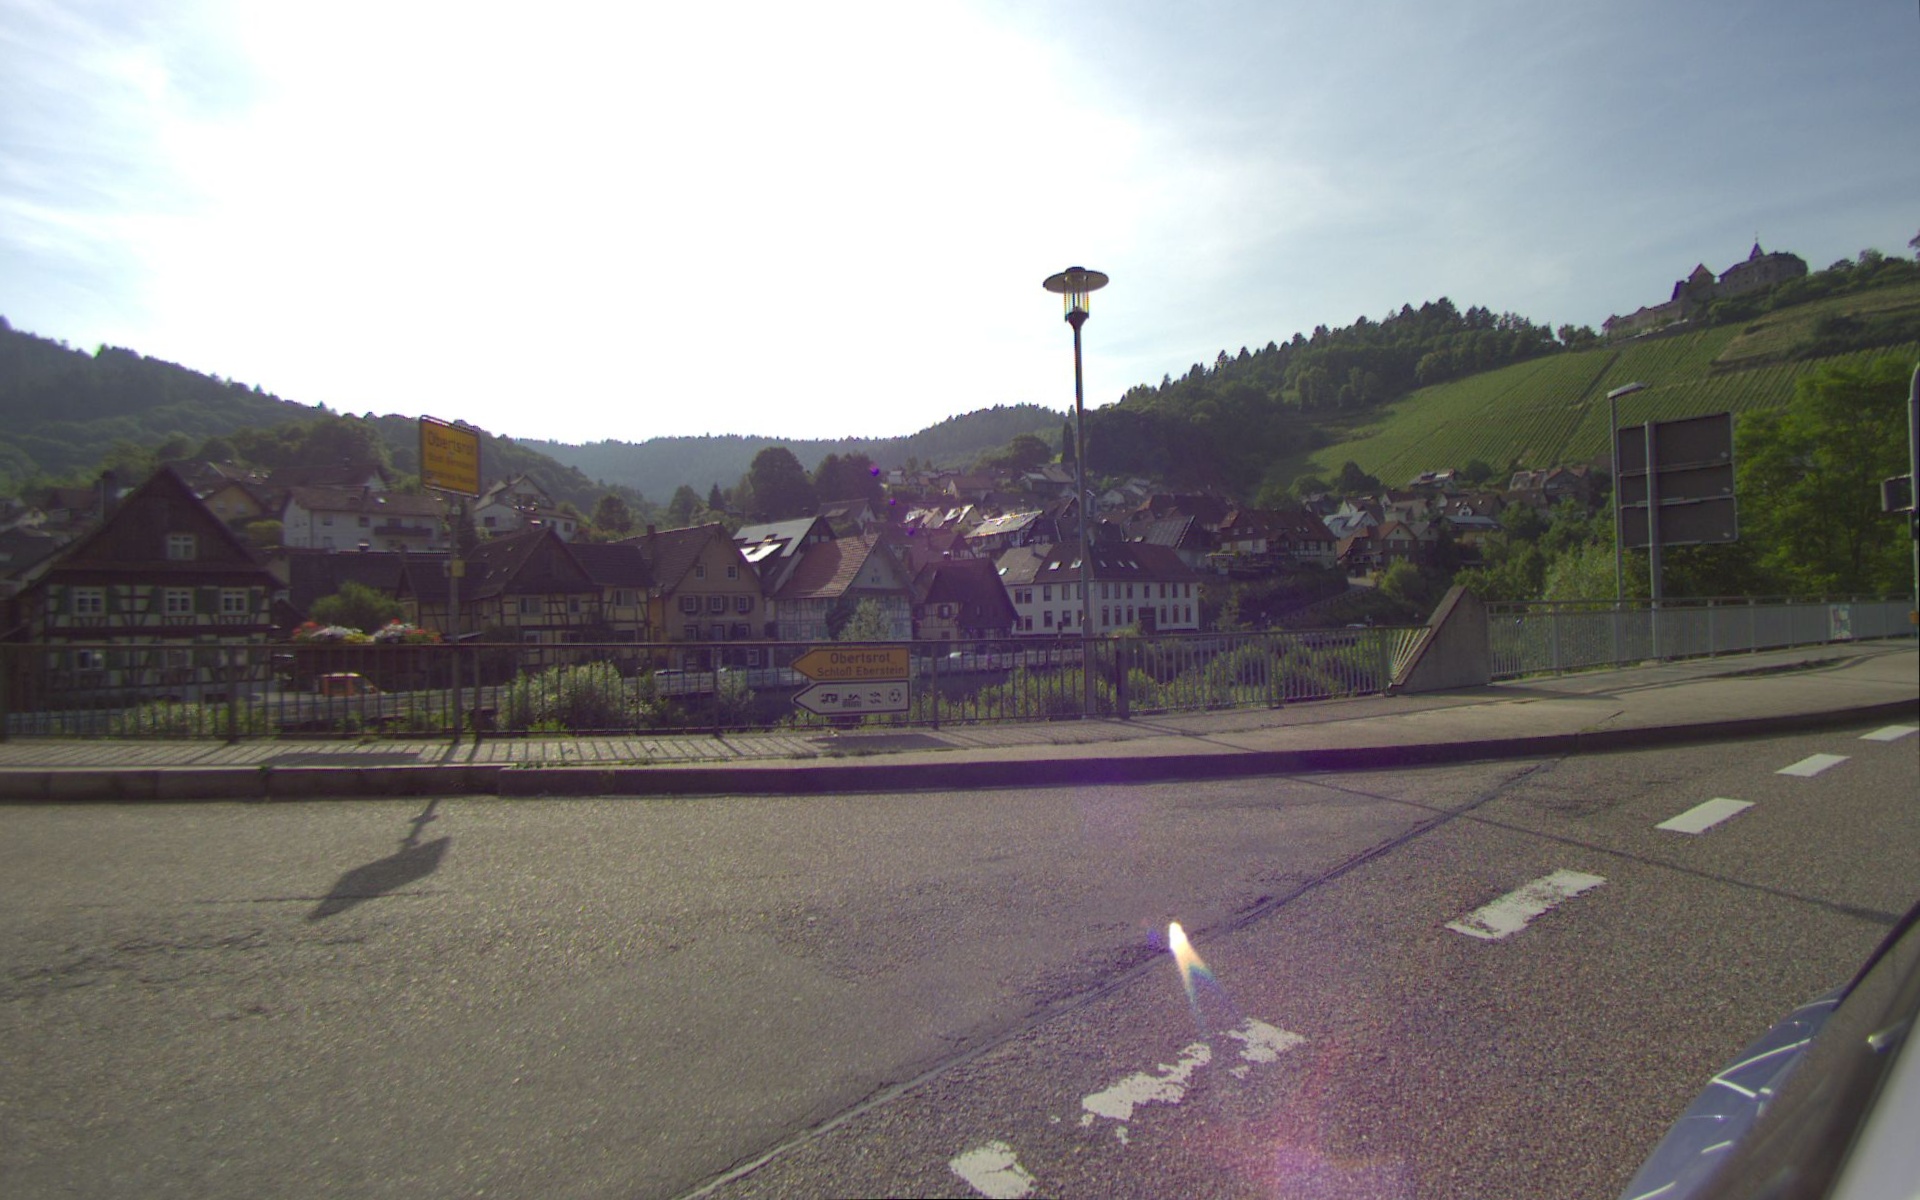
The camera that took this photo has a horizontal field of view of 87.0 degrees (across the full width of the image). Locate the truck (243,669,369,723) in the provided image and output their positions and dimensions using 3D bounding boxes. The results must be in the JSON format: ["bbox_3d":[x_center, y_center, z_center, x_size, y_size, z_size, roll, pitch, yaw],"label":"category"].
[{"bbox_3d":[-30.658,4.446,47.519,1.994,2.039,4.651,0,1,44],"label":"truck"}]
